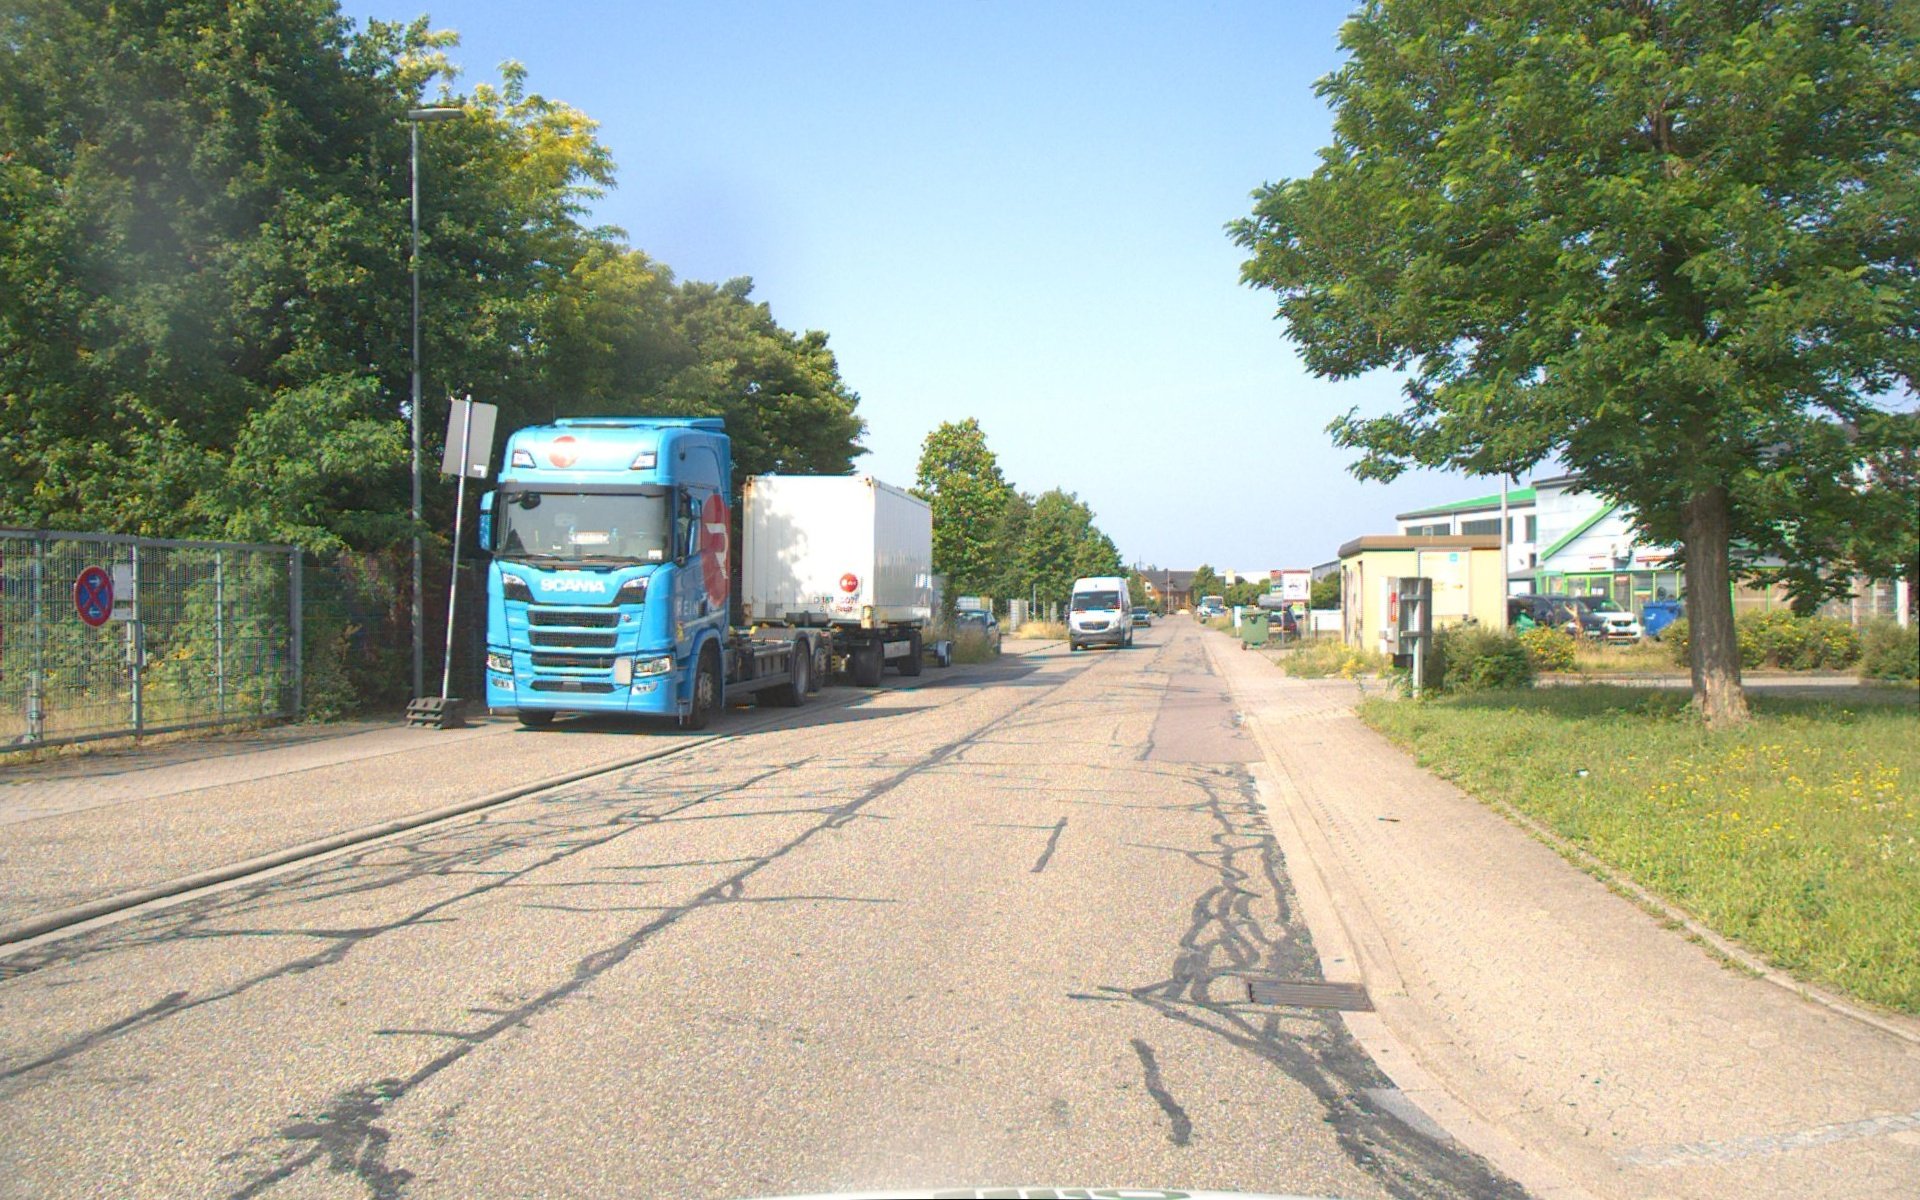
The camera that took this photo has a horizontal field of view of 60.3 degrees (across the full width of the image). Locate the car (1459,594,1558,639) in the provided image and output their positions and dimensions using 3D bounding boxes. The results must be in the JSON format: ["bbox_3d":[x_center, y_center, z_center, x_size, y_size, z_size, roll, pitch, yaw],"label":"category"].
[{"bbox_3d":[17.487,0.518,52.849,1.553,1.369,3.177,-1,0,-14],"label":"car"}]

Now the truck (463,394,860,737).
[{"bbox_3d":[-3.770,-0.389,23.968,2.655,3.952,9.643,1,0,8],"label":"truck"}]

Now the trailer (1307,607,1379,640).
[{"bbox_3d":[15.094,0.914,65.322,1.467,1.270,2.962,1,0,-18],"label":"trailer"}]

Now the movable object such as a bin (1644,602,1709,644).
[{"bbox_3d":[24.063,0.752,55.584,0.979,1.369,2.001,-1,0,-14],"label":"movable object such as a bin"}]

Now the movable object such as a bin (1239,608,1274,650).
[{"bbox_3d":[10.151,0.981,56.710,1.058,1.377,1.507,-3,-1,9],"label":"movable object such as a bin"}]

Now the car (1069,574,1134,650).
[{"bbox_3d":[5.276,0.443,60.979,1.951,2.592,6.995,-1,0,8],"label":"car"}]

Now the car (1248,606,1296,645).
[{"bbox_3d":[11.843,0.949,62.620,1.638,1.392,4.397,-1,0,12],"label":"car"}]

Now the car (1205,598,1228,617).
[{"bbox_3d":[21.749,0.636,140.422,1.756,1.544,4.427,-1,0,7],"label":"car"}]

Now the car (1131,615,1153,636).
[{"bbox_3d":[15.046,2.059,136.616,1.773,1.655,4.252,-1,0,7],"label":"car"}]

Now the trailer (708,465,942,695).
[{"bbox_3d":[-2.404,-0.325,33.551,2.642,3.952,9.772,1,0,8],"label":"trailer"}]

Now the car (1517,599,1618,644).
[{"bbox_3d":[19.641,0.678,53.600,1.553,1.369,3.177,-1,0,-14],"label":"car"}]

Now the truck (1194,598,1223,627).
[{"bbox_3d":[24.550,1.192,163.788,2.309,2.728,6.514,-1,0,4],"label":"truck"}]

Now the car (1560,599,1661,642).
[{"bbox_3d":[21.406,0.661,54.495,1.553,1.369,3.177,-1,0,-14],"label":"car"}]

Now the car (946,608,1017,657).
[{"bbox_3d":[0.729,1.007,52.679,1.651,1.496,4.096,-1,0,9],"label":"car"}]

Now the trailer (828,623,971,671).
[{"bbox_3d":[-1.385,1.137,41.503,2.592,1.002,6.247,-1,0,7],"label":"trailer"}]
